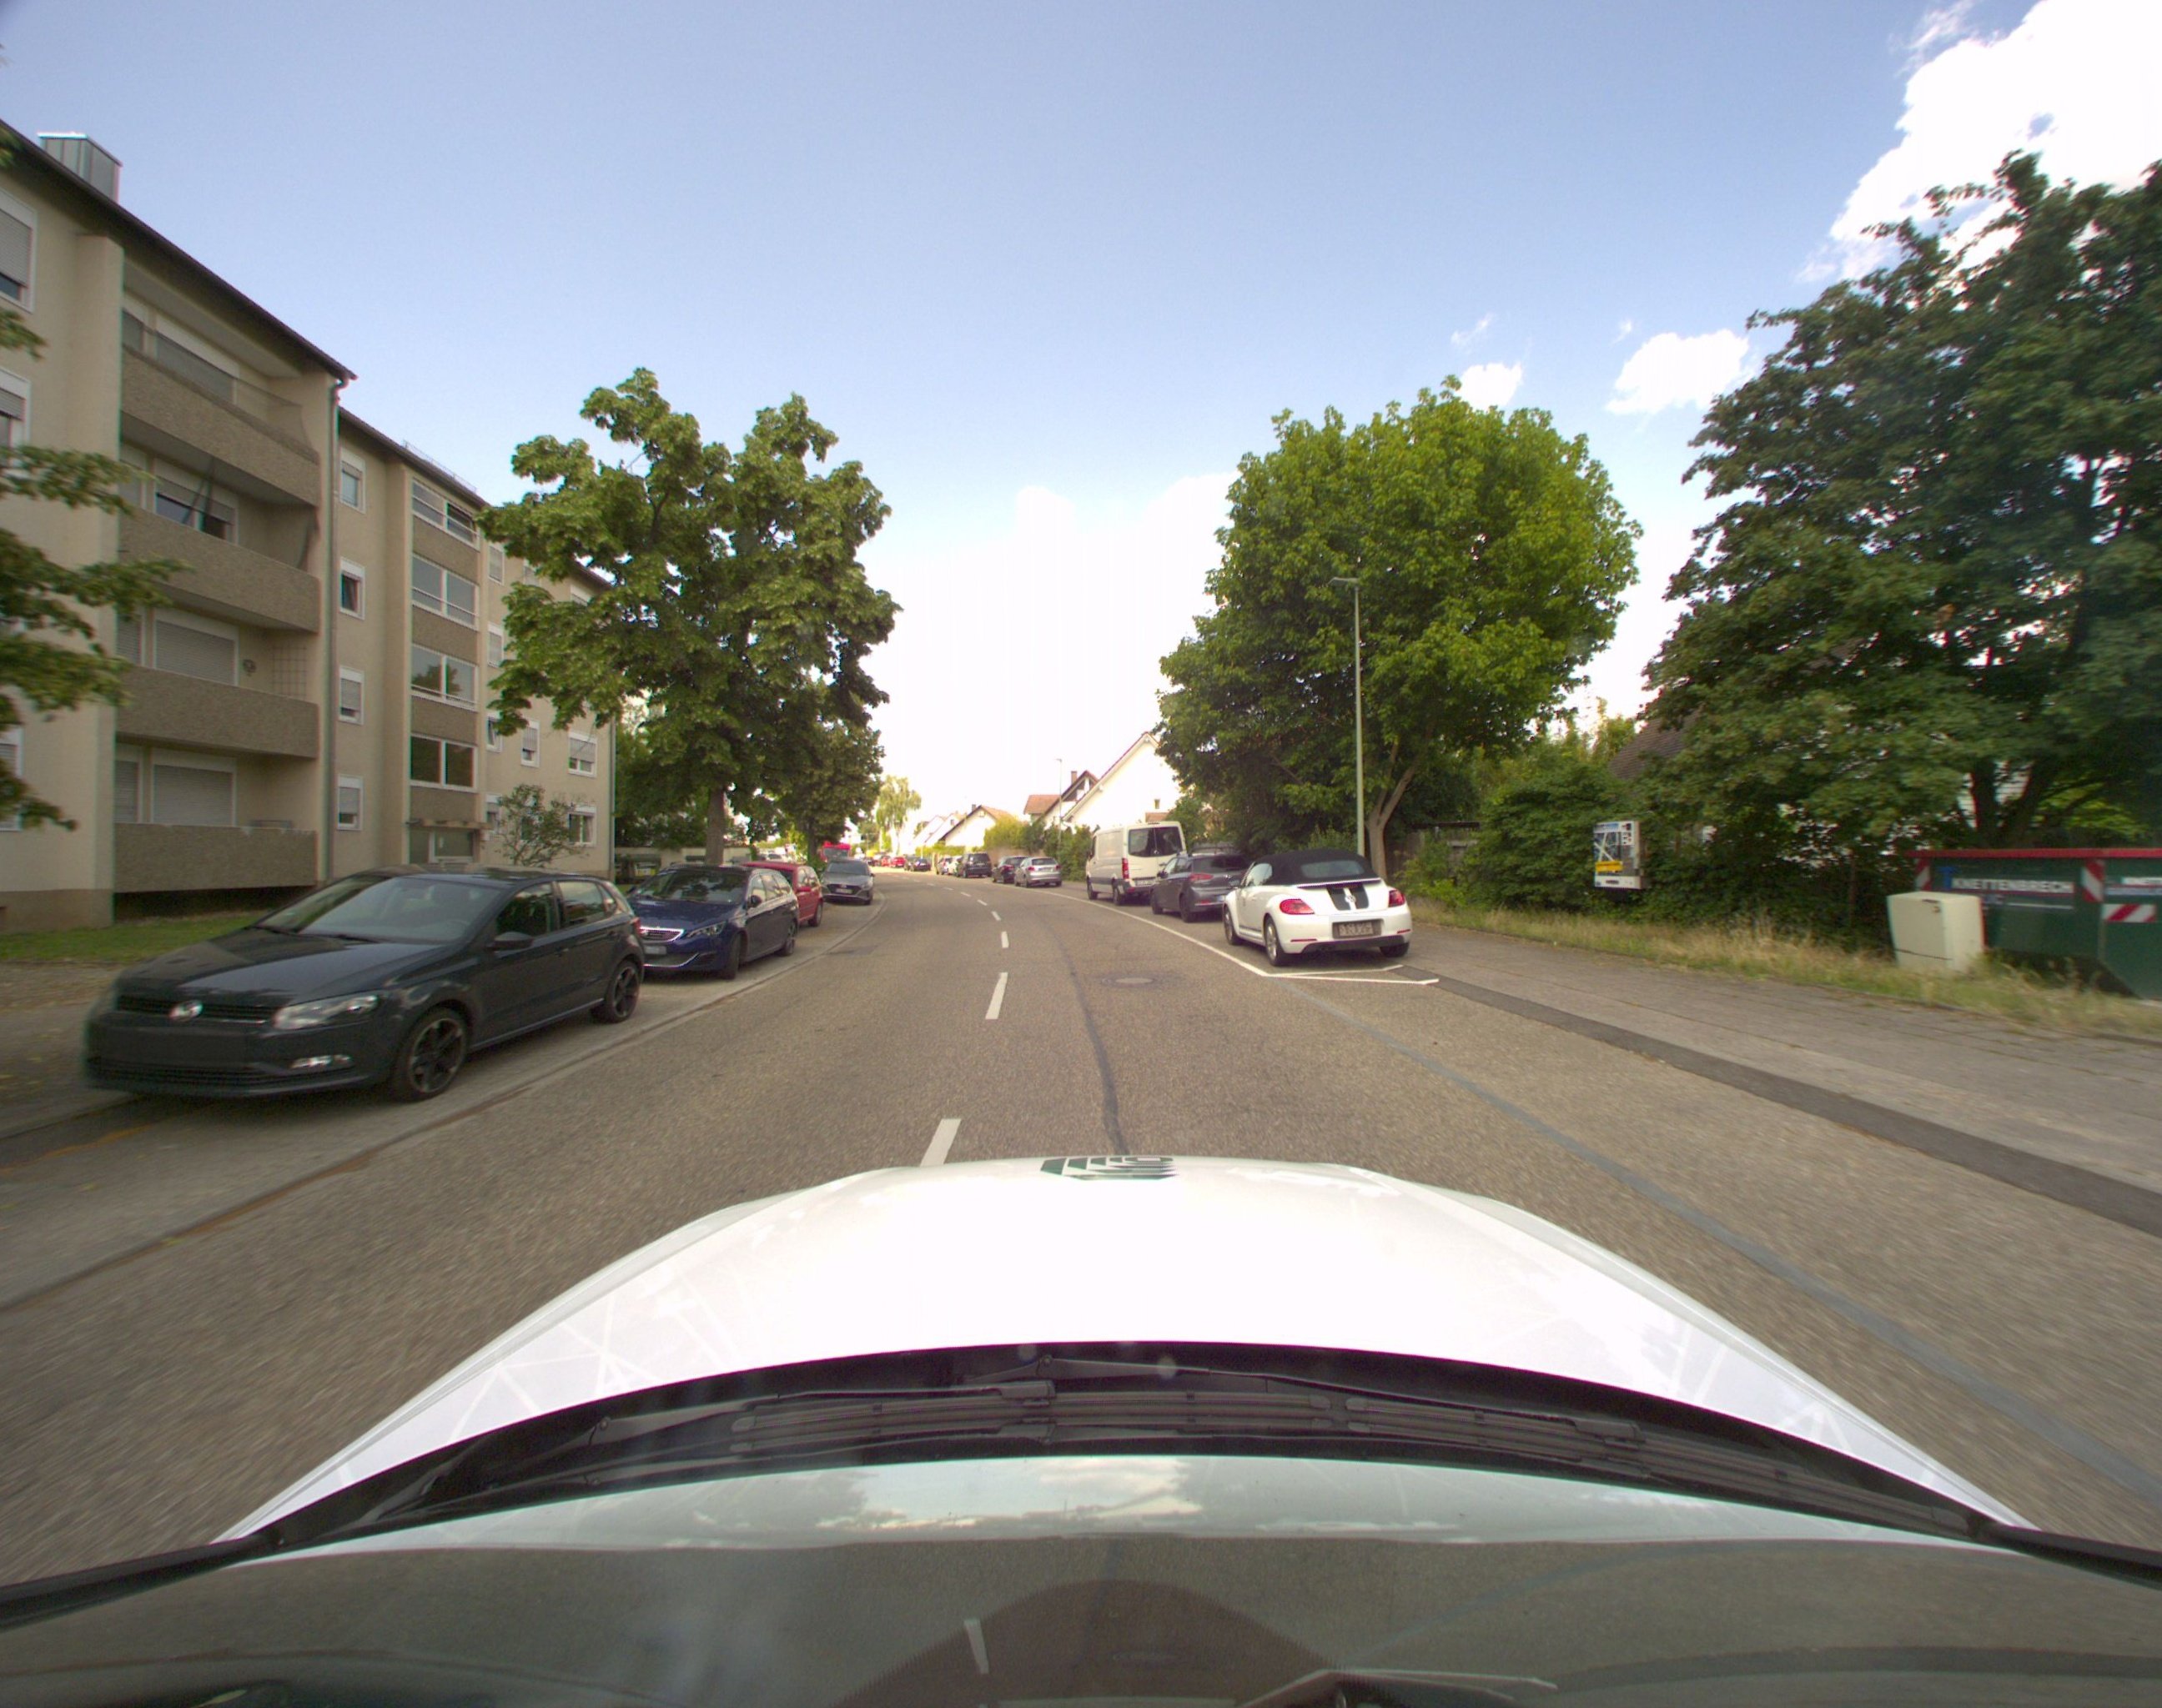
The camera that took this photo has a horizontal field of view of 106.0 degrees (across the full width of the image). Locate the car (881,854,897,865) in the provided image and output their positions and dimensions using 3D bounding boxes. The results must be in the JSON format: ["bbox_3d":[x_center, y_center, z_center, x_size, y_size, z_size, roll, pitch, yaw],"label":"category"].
[{"bbox_3d":[-26.997,0.817,114.238,1.800,1.523,4.502,0,0,-19],"label":"car"}]

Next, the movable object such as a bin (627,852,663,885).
[{"bbox_3d":[-20.541,0.671,38.411,1.199,1.437,1.363,-1,4,-18],"label":"movable object such as a bin"}]

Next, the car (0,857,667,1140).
[{"bbox_3d":[-5.092,0.799,6.412,1.757,1.489,4.027,2,0,-4],"label":"car"}]

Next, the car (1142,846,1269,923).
[{"bbox_3d":[2.738,0.627,18.889,1.717,1.585,4.110,0,0,-10],"label":"car"}]

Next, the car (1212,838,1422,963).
[{"bbox_3d":[3.223,0.559,12.082,1.735,1.512,4.455,0,0,-2],"label":"car"}]

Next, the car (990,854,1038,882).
[{"bbox_3d":[-3.771,0.730,44.993,1.742,1.509,4.449,0,0,-17],"label":"car"}]

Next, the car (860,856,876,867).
[{"bbox_3d":[-30.046,1.070,114.916,1.801,1.523,4.501,0,0,-20],"label":"car"}]

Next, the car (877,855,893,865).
[{"bbox_3d":[-28.542,0.840,118.623,1.800,1.523,4.502,0,0,-19],"label":"car"}]

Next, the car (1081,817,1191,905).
[{"bbox_3d":[1.546,0.191,25.499,2.118,2.441,5.874,0,0,-10],"label":"car"}]

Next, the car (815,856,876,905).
[{"bbox_3d":[-8.038,0.870,28.090,1.762,1.489,4.324,2,0,-13],"label":"car"}]

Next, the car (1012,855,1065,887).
[{"bbox_3d":[-2.132,0.790,39.719,1.740,1.457,4.342,0,0,-15],"label":"car"}]

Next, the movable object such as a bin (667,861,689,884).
[{"bbox_3d":[-19.352,0.862,39.098,0.624,1.024,0.876,-1,3,-6],"label":"movable object such as a bin"}]

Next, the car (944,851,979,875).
[{"bbox_3d":[-9.146,0.672,62.142,1.801,1.748,3.945,0,0,-21],"label":"car"}]

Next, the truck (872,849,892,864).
[{"bbox_3d":[-31.577,0.414,128.906,2.576,2.260,6.493,0,0,-19],"label":"truck"}]

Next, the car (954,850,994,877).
[{"bbox_3d":[-7.417,0.635,56.156,1.801,1.748,4.553,0,0,-20],"label":"car"}]

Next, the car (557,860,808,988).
[{"bbox_3d":[-5.489,0.876,11.973,1.758,1.489,4.561,2,-1,-6],"label":"car"}]

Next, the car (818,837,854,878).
[{"bbox_3d":[-16.694,0.241,55.639,2.068,2.501,5.807,4,-1,-17],"label":"car"}]

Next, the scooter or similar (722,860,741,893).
[{"bbox_3d":[-12.841,0.812,29.913,0.420,1.165,1.135,1,0,-14],"label":"scooter or similar"}]

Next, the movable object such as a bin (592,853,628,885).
[{"bbox_3d":[-22.242,0.691,38.472,1.246,1.437,0.925,-1,3,-16],"label":"movable object such as a bin"}]

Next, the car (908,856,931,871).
[{"bbox_3d":[-16.438,0.946,82.802,1.800,1.523,3.948,0,0,-19],"label":"car"}]

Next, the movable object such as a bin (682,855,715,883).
[{"bbox_3d":[-18.405,0.725,39.218,1.191,1.274,0.876,-1,3,-7],"label":"movable object such as a bin"}]

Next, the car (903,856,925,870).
[{"bbox_3d":[-17.876,0.930,87.176,1.800,1.523,3.948,0,0,-19],"label":"car"}]

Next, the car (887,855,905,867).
[{"bbox_3d":[-23.812,0.876,104.949,1.800,1.523,4.502,0,0,-19],"label":"car"}]

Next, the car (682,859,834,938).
[{"bbox_3d":[-6.755,0.856,17.532,1.833,1.439,4.084,2,0,-5],"label":"car"}]

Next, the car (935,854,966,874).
[{"bbox_3d":[-10.650,0.789,66.469,1.801,1.523,3.947,0,0,-20],"label":"car"}]
